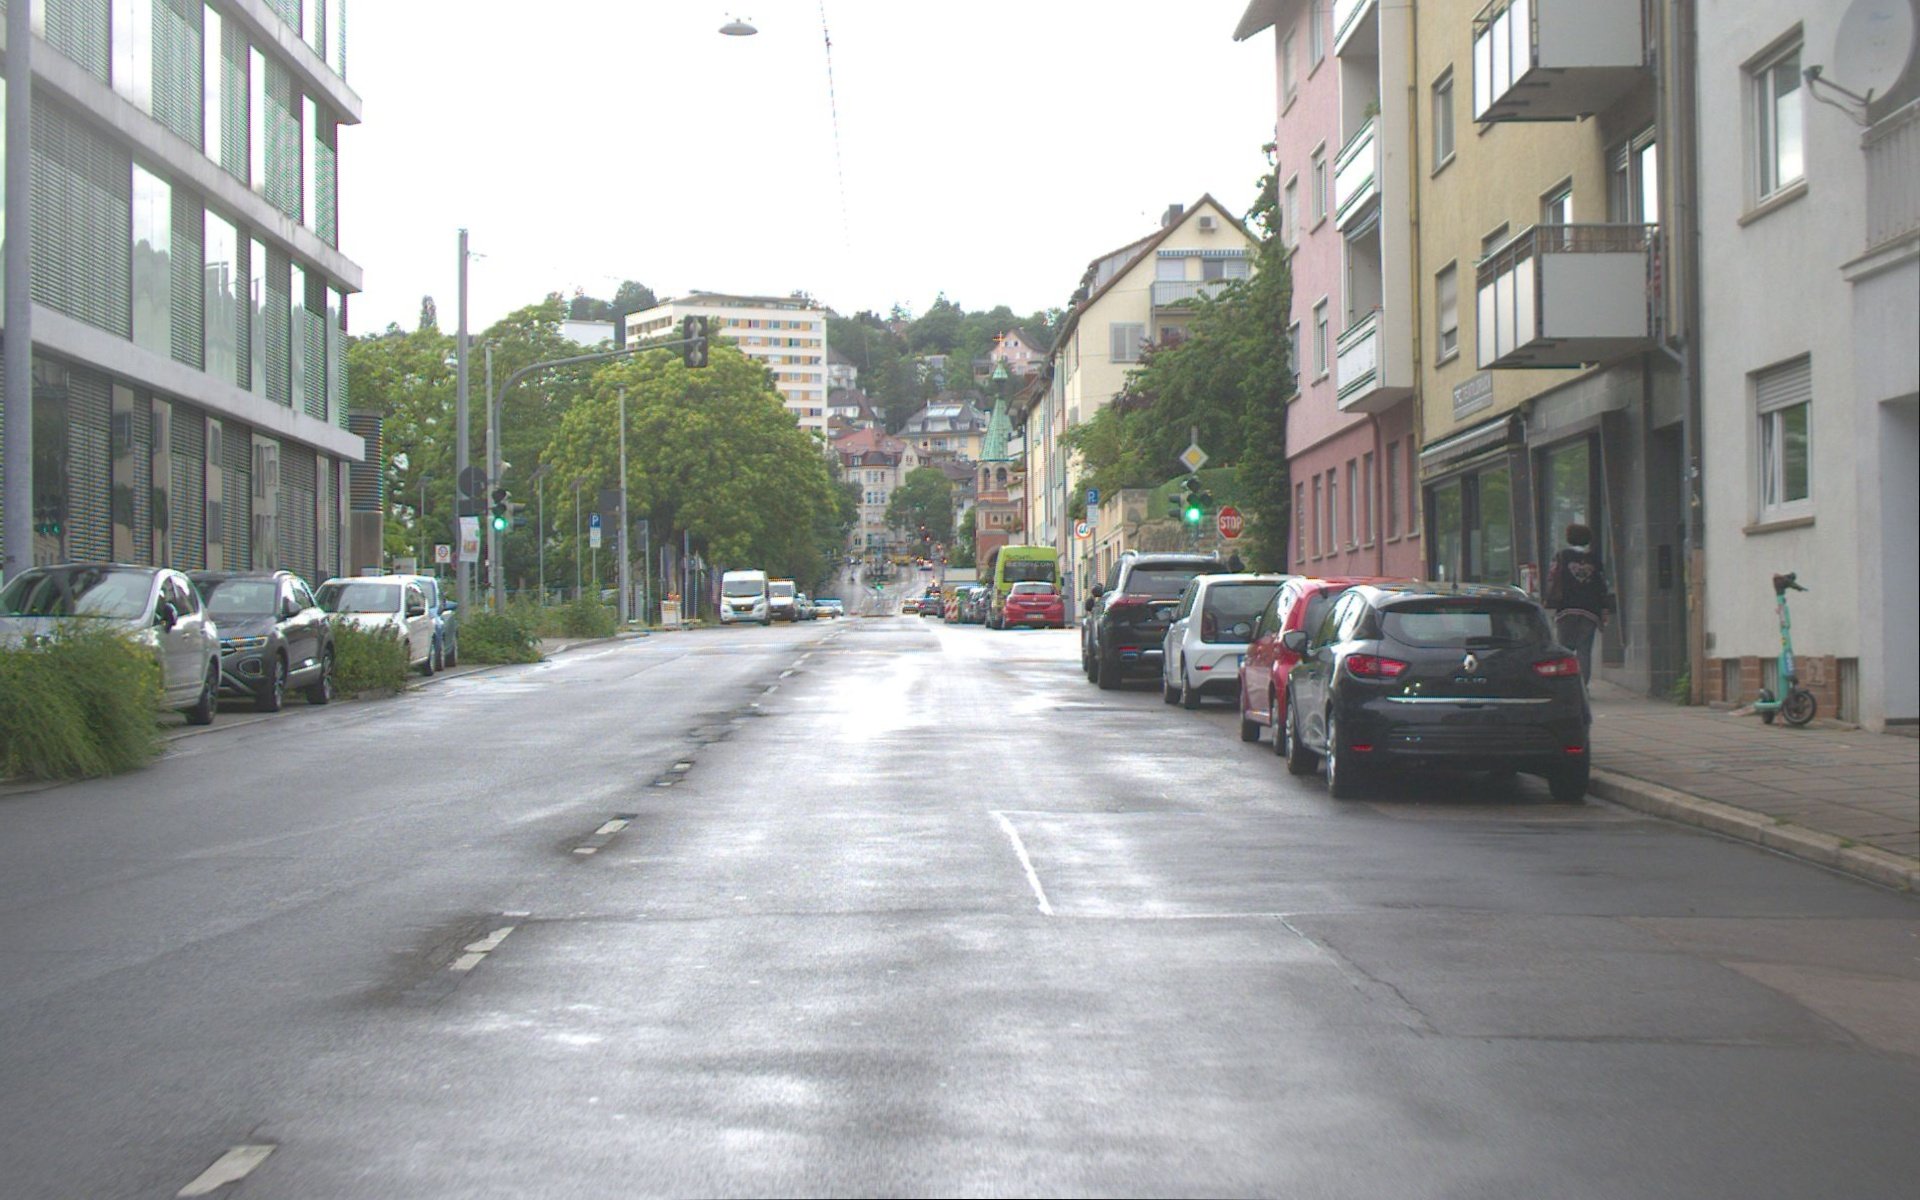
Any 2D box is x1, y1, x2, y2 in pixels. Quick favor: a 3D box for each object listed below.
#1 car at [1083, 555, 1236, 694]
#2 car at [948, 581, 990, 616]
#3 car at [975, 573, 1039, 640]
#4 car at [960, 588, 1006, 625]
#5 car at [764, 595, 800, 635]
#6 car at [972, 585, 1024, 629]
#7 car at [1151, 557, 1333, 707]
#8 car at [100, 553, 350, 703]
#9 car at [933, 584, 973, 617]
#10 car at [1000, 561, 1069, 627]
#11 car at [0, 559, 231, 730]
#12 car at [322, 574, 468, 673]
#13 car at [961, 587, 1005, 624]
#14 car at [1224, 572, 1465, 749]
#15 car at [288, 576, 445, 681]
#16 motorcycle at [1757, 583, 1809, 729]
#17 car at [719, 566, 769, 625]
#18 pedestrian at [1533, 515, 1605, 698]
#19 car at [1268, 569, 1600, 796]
[{"bbox_3d":[2.563,0.296,44.954,1.654,1.732,4.180,0,0,-1],"label":"car"},{"bbox_3d":[0.459,-0.072,166.602,1.867,1.598,4.189,1,-1,2],"label":"car"},{"bbox_3d":[1.453,0.221,105.679,1.867,1.966,4.189,1,-1,2],"label":"car"},{"bbox_3d":[1.030,0.298,151.240,1.867,1.598,4.189,1,-1,2],"label":"car"},{"bbox_3d":[-9.881,0.834,190.927,1.866,2.134,4.359,1,-1,-5],"label":"car"},{"bbox_3d":[1.480,0.286,131.880,1.867,1.598,4.189,1,-1,2],"label":"car"},{"bbox_3d":[3.089,0.355,38.259,1.635,1.566,3.711,1,-1,-1],"label":"car"},{"bbox_3d":[-8.314,0.336,39.264,1.801,1.598,4.233,1,-1,2],"label":"car"},{"bbox_3d":[-0.343,0.040,174.766,1.867,1.598,4.189,1,-1,2],"label":"car"},{"bbox_3d":[2.112,-0.158,96.548,1.867,1.764,4.189,1,-1,2],"label":"car"},{"bbox_3d":[-8.351,0.394,33.176,1.771,1.529,4.316,1,0,-1],"label":"car"},{"bbox_3d":[-9.074,0.354,55.497,1.866,1.520,4.197,1,0,-3],"label":"car"},{"bbox_3d":[1.041,0.249,156.276,1.867,1.598,4.189,1,-1,2],"label":"car"},{"bbox_3d":[3.243,0.507,29.595,1.582,1.409,3.654,1,-1,-1],"label":"car"},{"bbox_3d":[-8.622,0.393,50.177,1.595,1.454,3.719,1,0,1],"label":"car"},{"bbox_3d":[6.642,0.450,27.754,0.252,1.161,0.781,1,-1,2],"label":"motorcycle"},{"bbox_3d":[-9.542,-0.183,152.079,2.105,2.538,4.751,1,0,-3],"label":"car"},{"bbox_3d":[6.265,0.072,35.362,0.639,1.864,0.538,1,-1,1],"label":"pedestrian"},{"bbox_3d":[3.252,0.551,24.294,1.706,1.449,3.984,1,-1,-1],"label":"car"}]
